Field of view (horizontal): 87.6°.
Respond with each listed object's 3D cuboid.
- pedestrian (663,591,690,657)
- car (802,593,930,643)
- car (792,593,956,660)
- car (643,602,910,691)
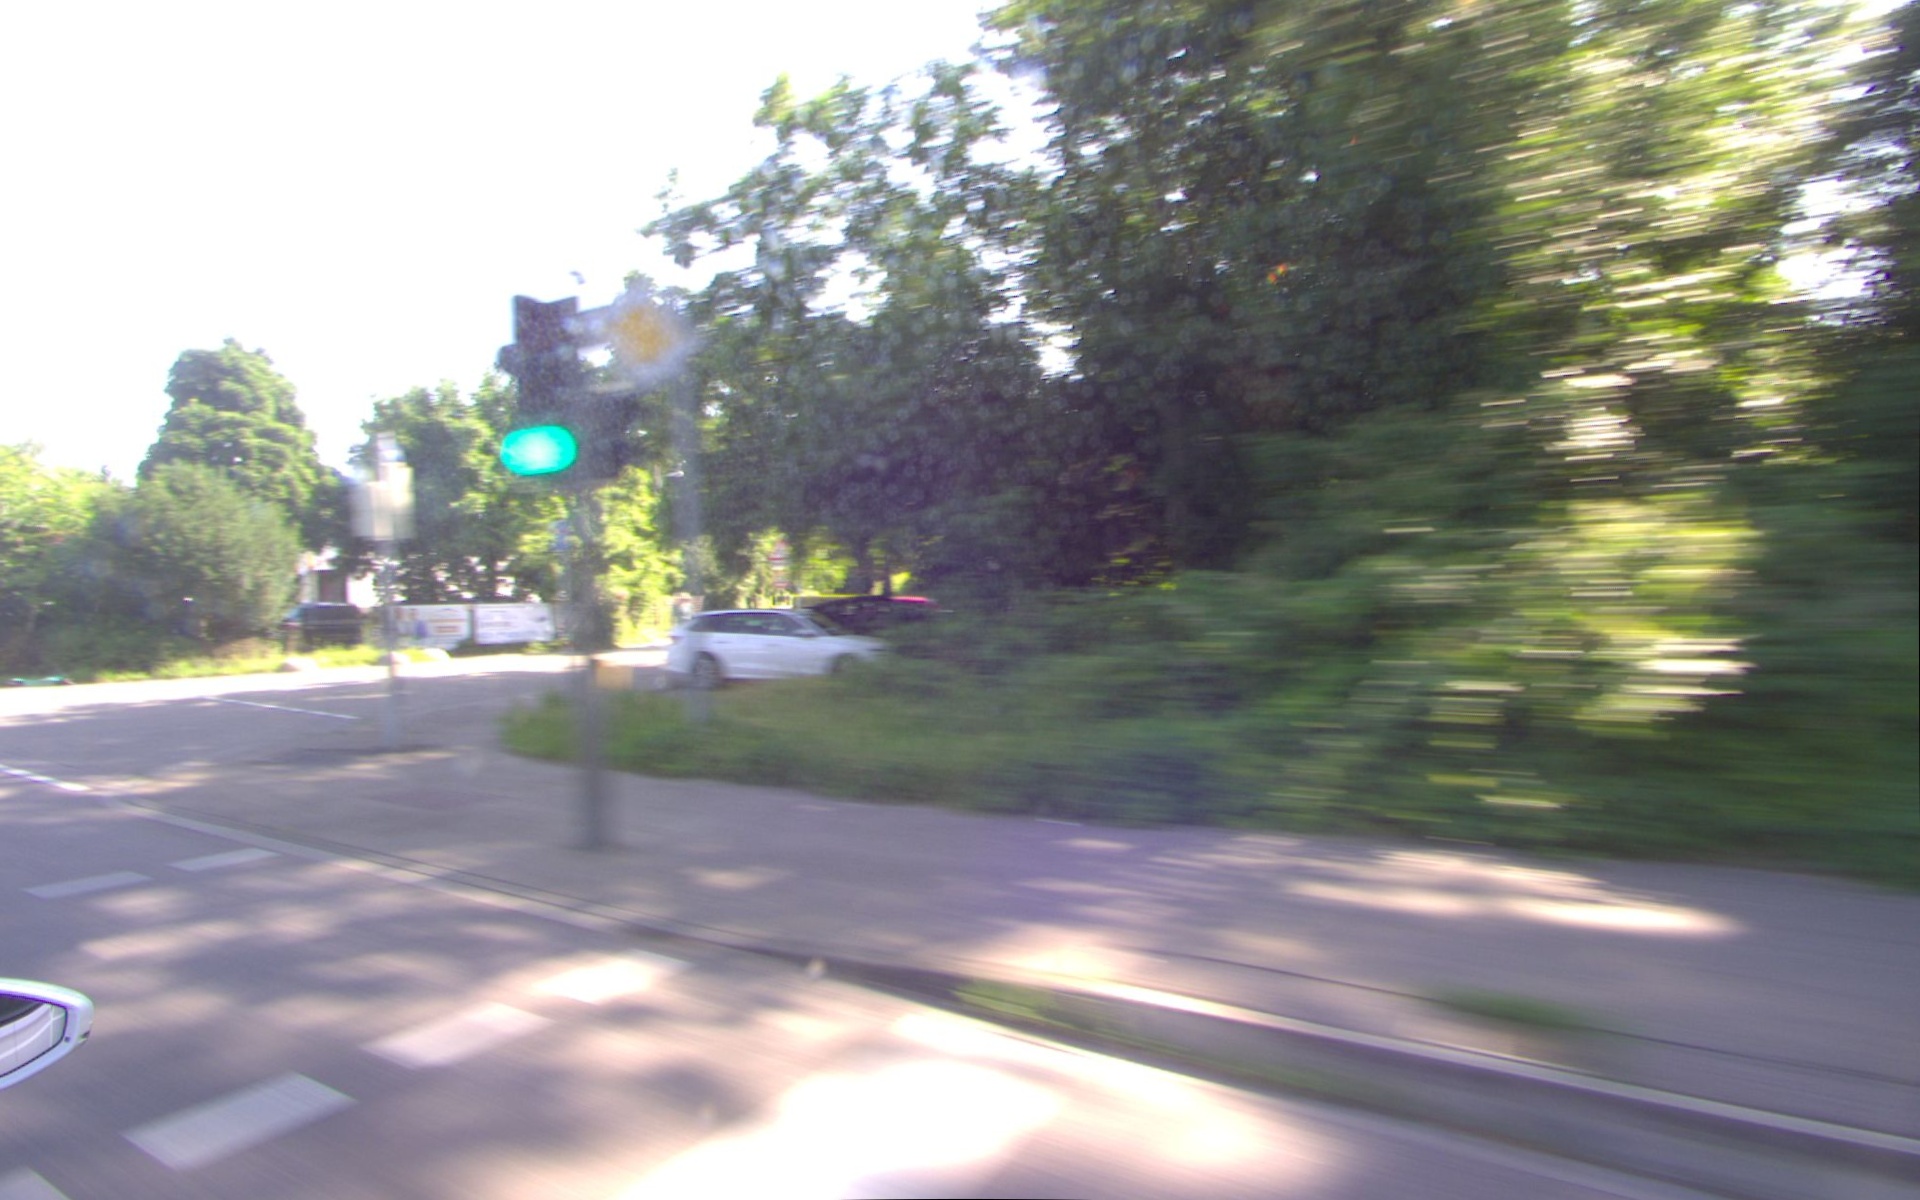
[{"bbox_3d":[-7.209,0.613,25.488,0.598,1.652,0.414,-2,2,-14],"label":"pedestrian"},{"bbox_3d":[-2.933,0.548,31.652,3.910,1.484,1.628,-1,1,-3],"label":"car"},{"bbox_3d":[-2.123,0.604,24.896,3.731,1.484,1.622,-1,1,-26],"label":"car"},{"bbox_3d":[-3.317,0.831,18.374,4.528,1.484,1.627,-1,1,12],"label":"car"}]
